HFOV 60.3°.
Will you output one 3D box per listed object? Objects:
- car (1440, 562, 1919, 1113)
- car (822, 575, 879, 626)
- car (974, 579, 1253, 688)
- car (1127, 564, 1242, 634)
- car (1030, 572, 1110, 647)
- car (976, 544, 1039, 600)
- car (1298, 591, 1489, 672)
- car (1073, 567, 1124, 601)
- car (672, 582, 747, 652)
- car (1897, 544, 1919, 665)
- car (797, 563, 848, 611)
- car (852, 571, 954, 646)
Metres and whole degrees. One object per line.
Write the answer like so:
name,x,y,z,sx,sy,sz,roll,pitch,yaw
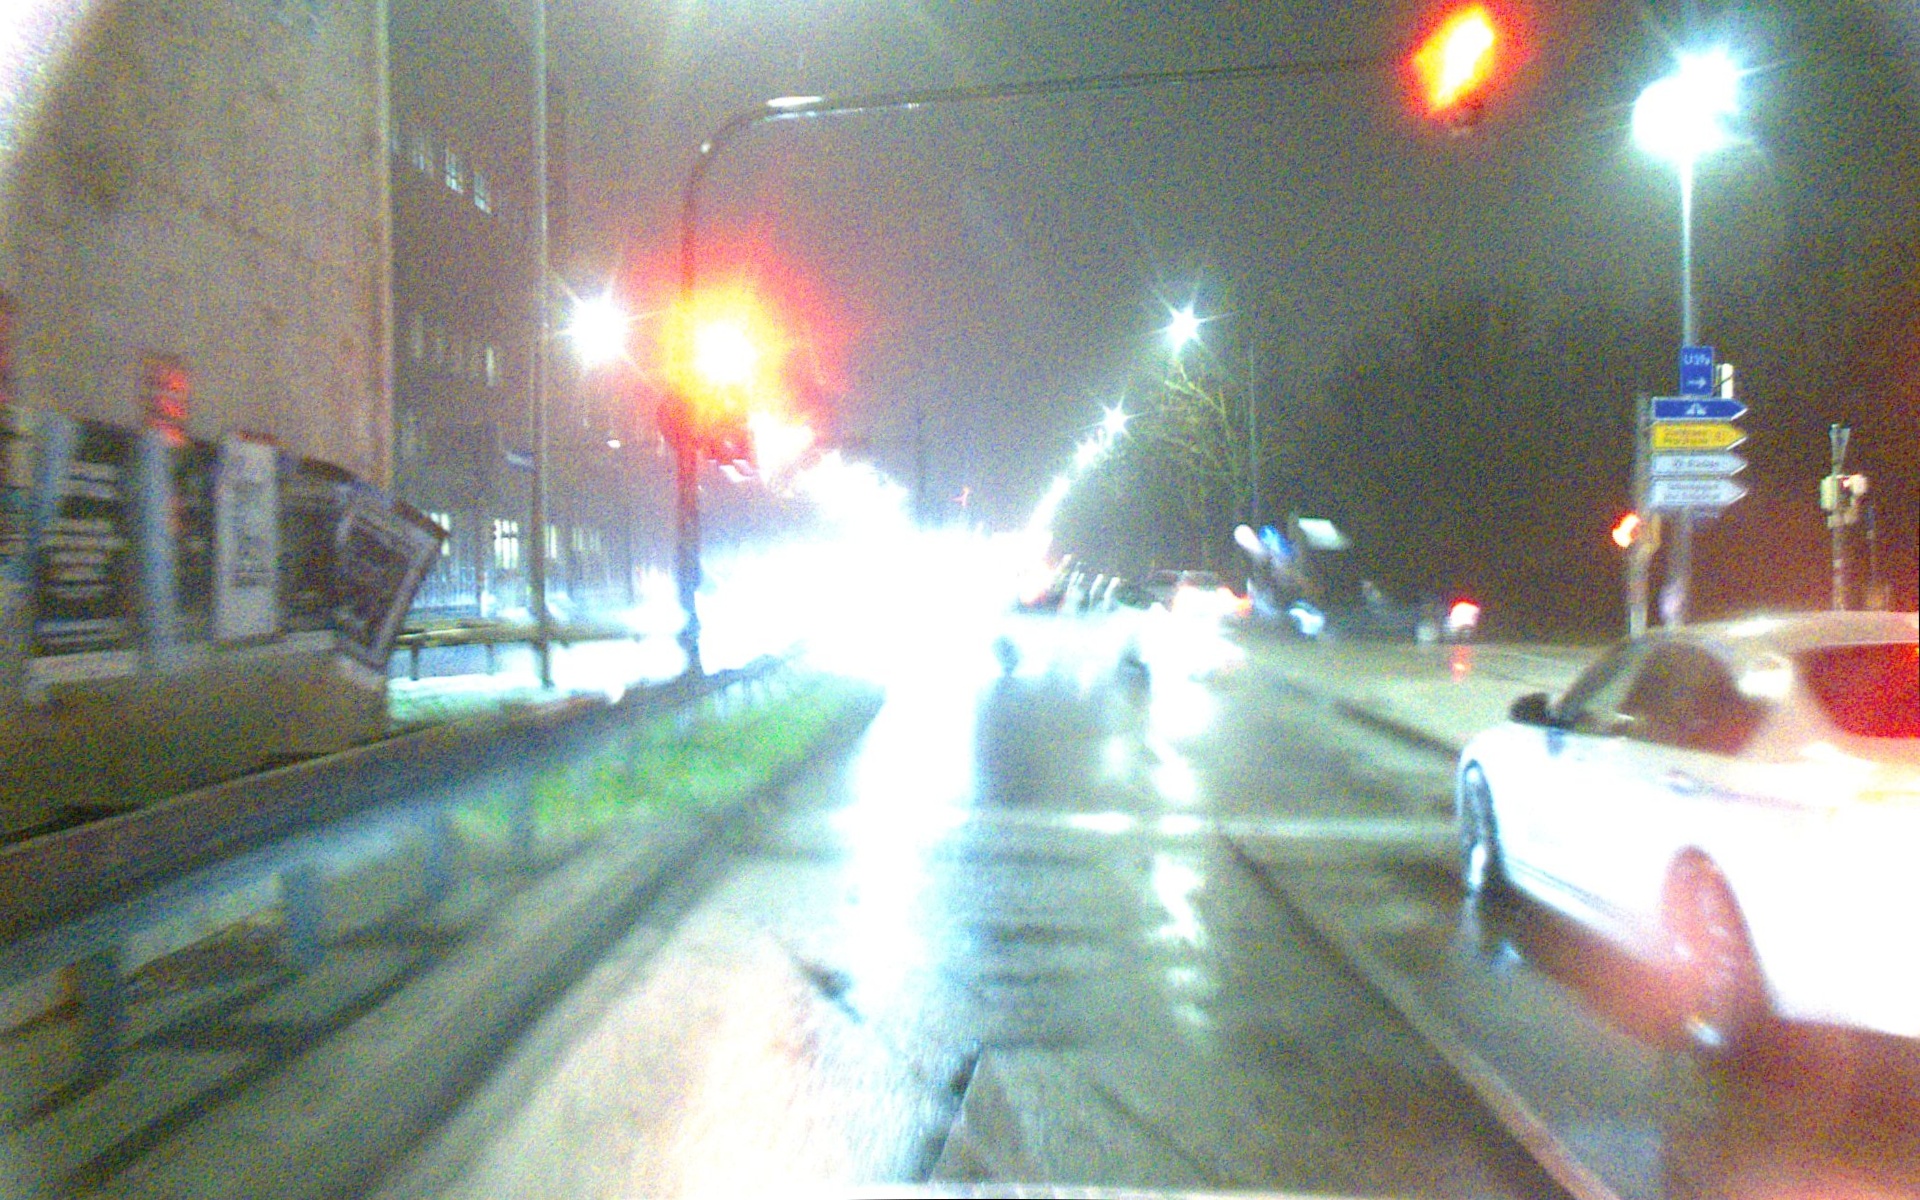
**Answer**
car,3.384,0.614,6.614,1.684,1.472,4.383,-1,0,1
car,-3.773,0.027,56.677,1.864,1.646,4.510,0,0,-5
car,2.522,0.515,27.611,4.341,1.678,1.829,0,0,37
car,6.915,-0.025,51.429,2.005,2.049,4.288,1,0,-16
car,3.116,0.258,47.511,1.996,2.049,4.306,0,0,0
car,1.927,-1.122,68.564,2.391,2.232,5.078,0,0,-1
car,10.282,0.720,39.179,4.204,1.816,2.045,0,0,20
car,6.658,-0.727,79.758,2.049,1.572,4.306,0,0,-1
car,-6.682,0.440,43.824,1.688,1.764,3.752,1,0,-13
car,16.616,0.090,24.236,4.722,1.800,1.837,0,0,3
car,-5.933,-0.543,71.829,1.663,2.049,3.569,0,0,4
car,-1.439,0.201,40.228,1.801,1.700,4.451,1,0,-11
